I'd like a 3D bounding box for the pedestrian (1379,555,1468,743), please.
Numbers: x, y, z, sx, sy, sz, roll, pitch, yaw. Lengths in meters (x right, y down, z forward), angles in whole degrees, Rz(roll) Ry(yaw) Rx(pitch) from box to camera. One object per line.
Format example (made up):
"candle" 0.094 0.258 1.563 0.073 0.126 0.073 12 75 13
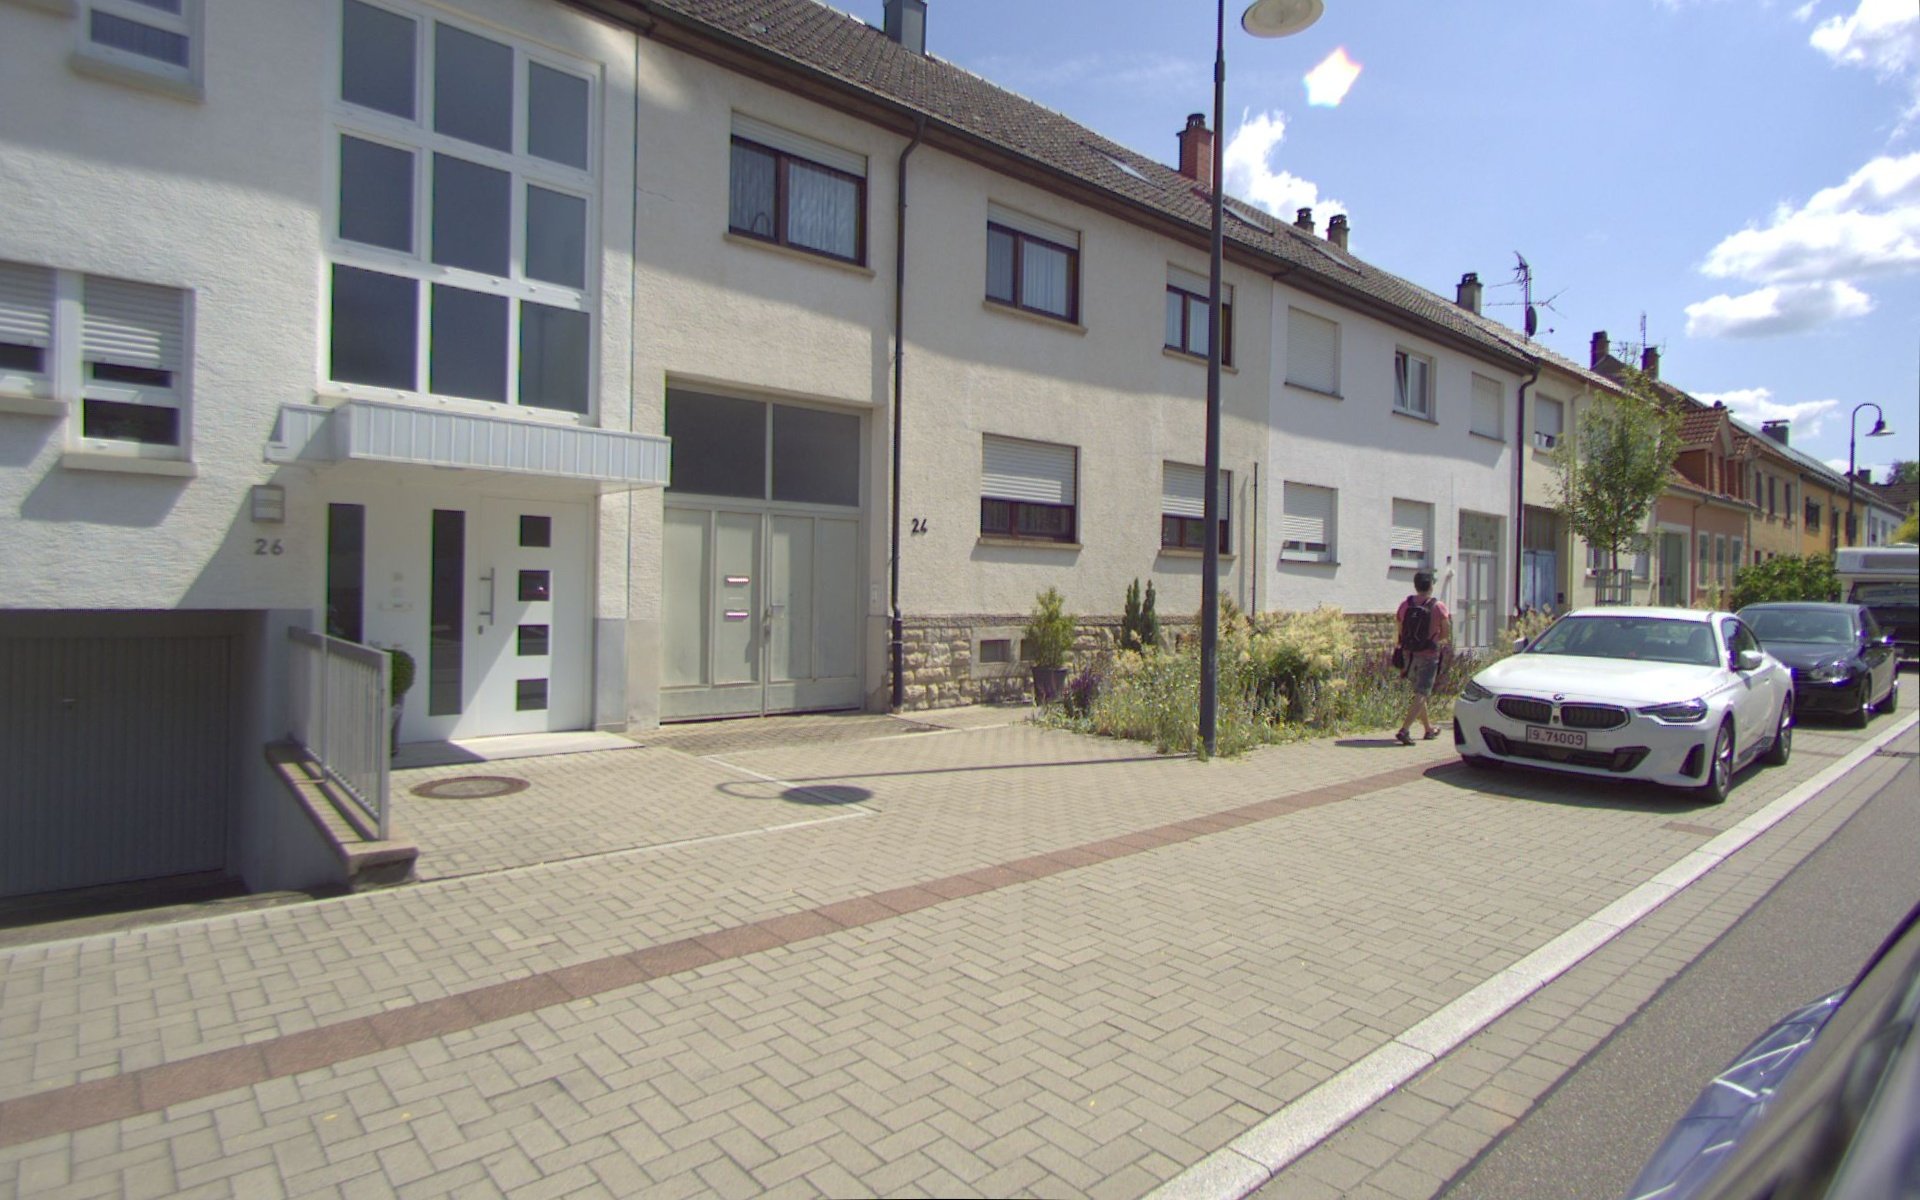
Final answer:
"pedestrian" 4.568 0.452 9.974 0.661 1.770 0.558 -1 1 -40

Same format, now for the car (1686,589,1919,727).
"car" 11.222 0.638 13.393 3.937 1.549 1.770 0 1 -41

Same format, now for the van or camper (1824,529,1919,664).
"van or camper" 22.258 -0.080 23.535 5.690 2.845 2.478 0 2 -42

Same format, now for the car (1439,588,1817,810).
"car" 6.087 0.644 8.980 4.444 1.484 1.834 0 1 -43
